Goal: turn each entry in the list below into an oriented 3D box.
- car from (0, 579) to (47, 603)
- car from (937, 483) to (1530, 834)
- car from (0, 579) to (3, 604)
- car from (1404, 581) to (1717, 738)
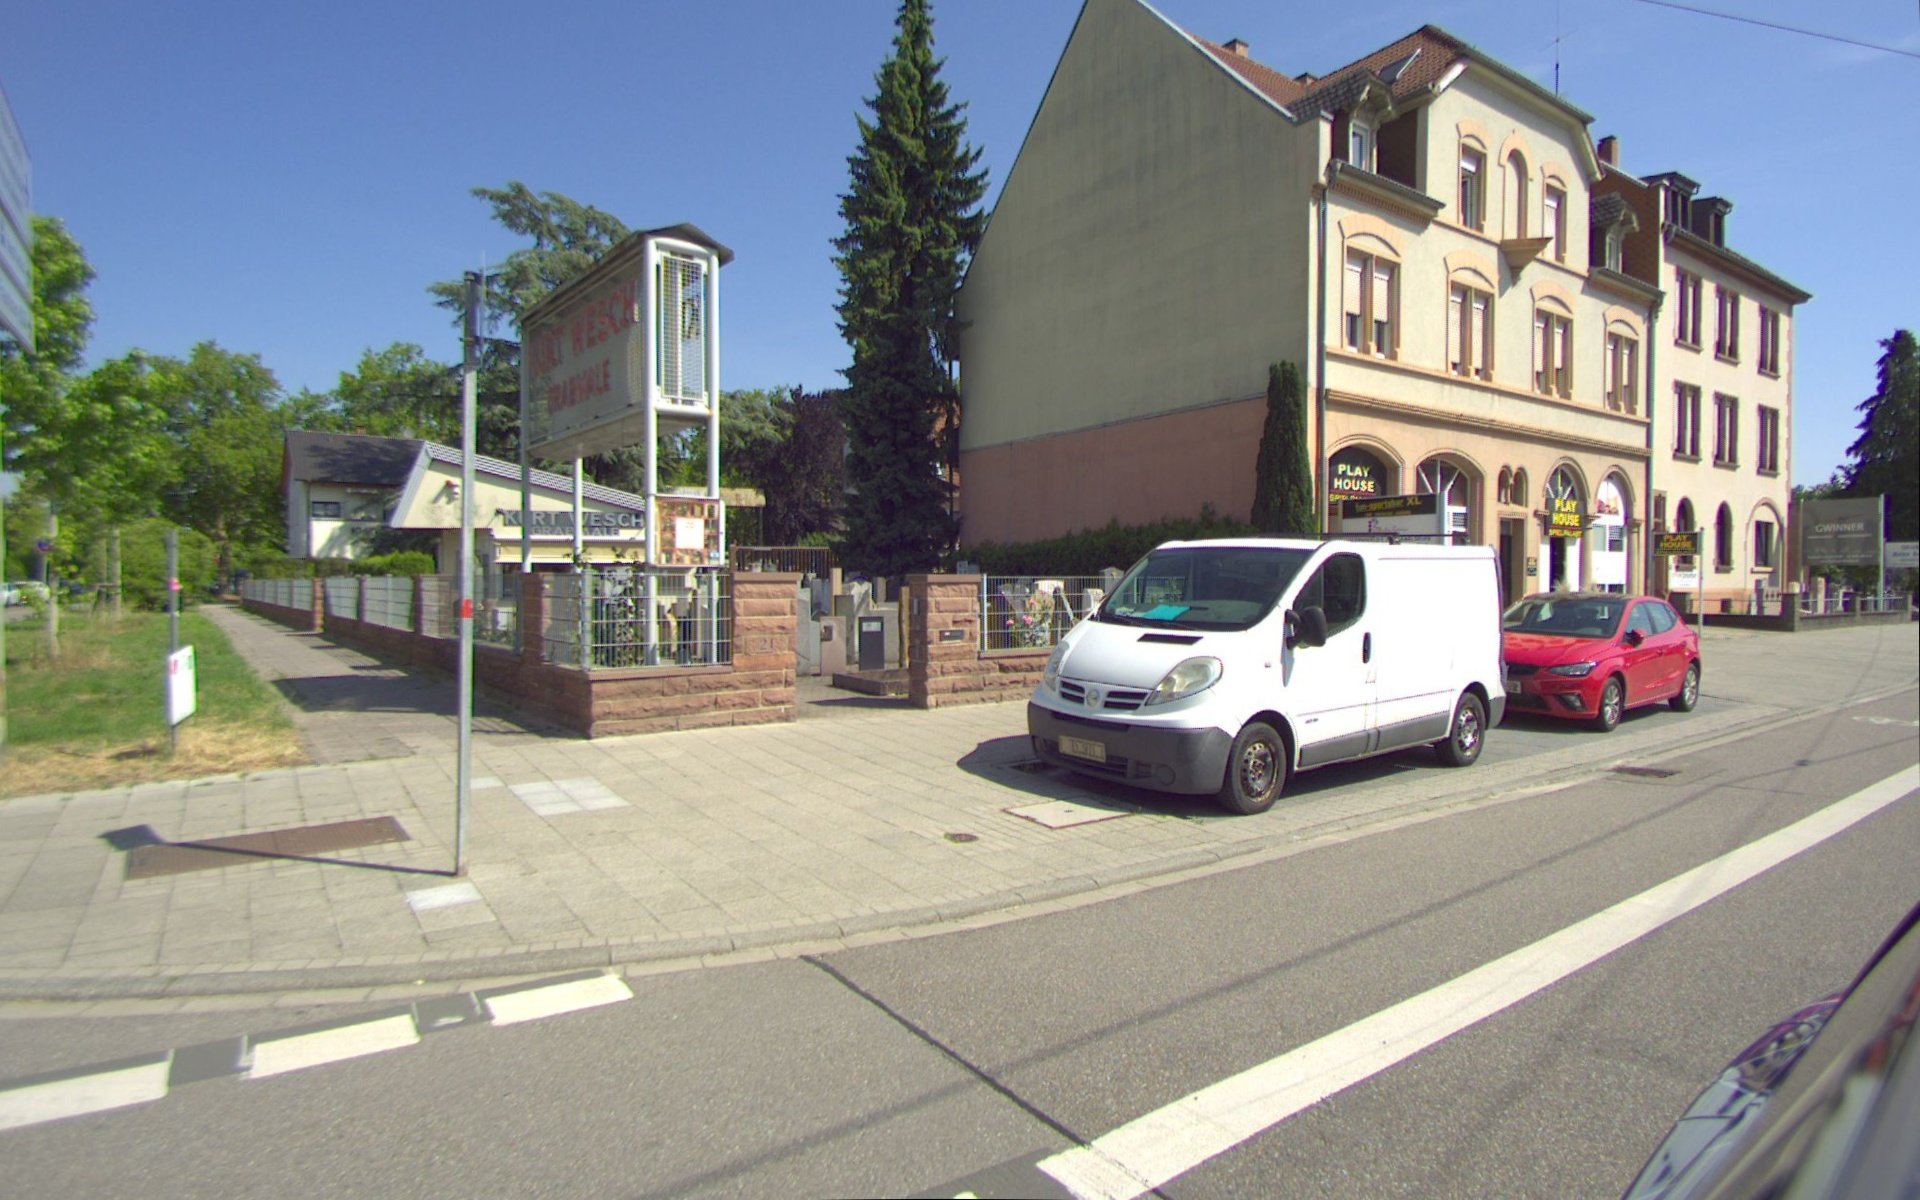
[{"bbox_3d":[-59.414,-0.581,64.168,1.626,1.444,4.002,-1,1,-33],"label":"car"},{"bbox_3d":[2.466,0.306,8.323,5.095,2.080,1.982,0,2,-38],"label":"car"},{"bbox_3d":[-56.388,-0.456,57.949,1.626,1.444,4.002,-1,1,-33],"label":"car"},{"bbox_3d":[7.172,0.545,11.931,4.234,1.460,1.727,-1,3,-38],"label":"car"}]
